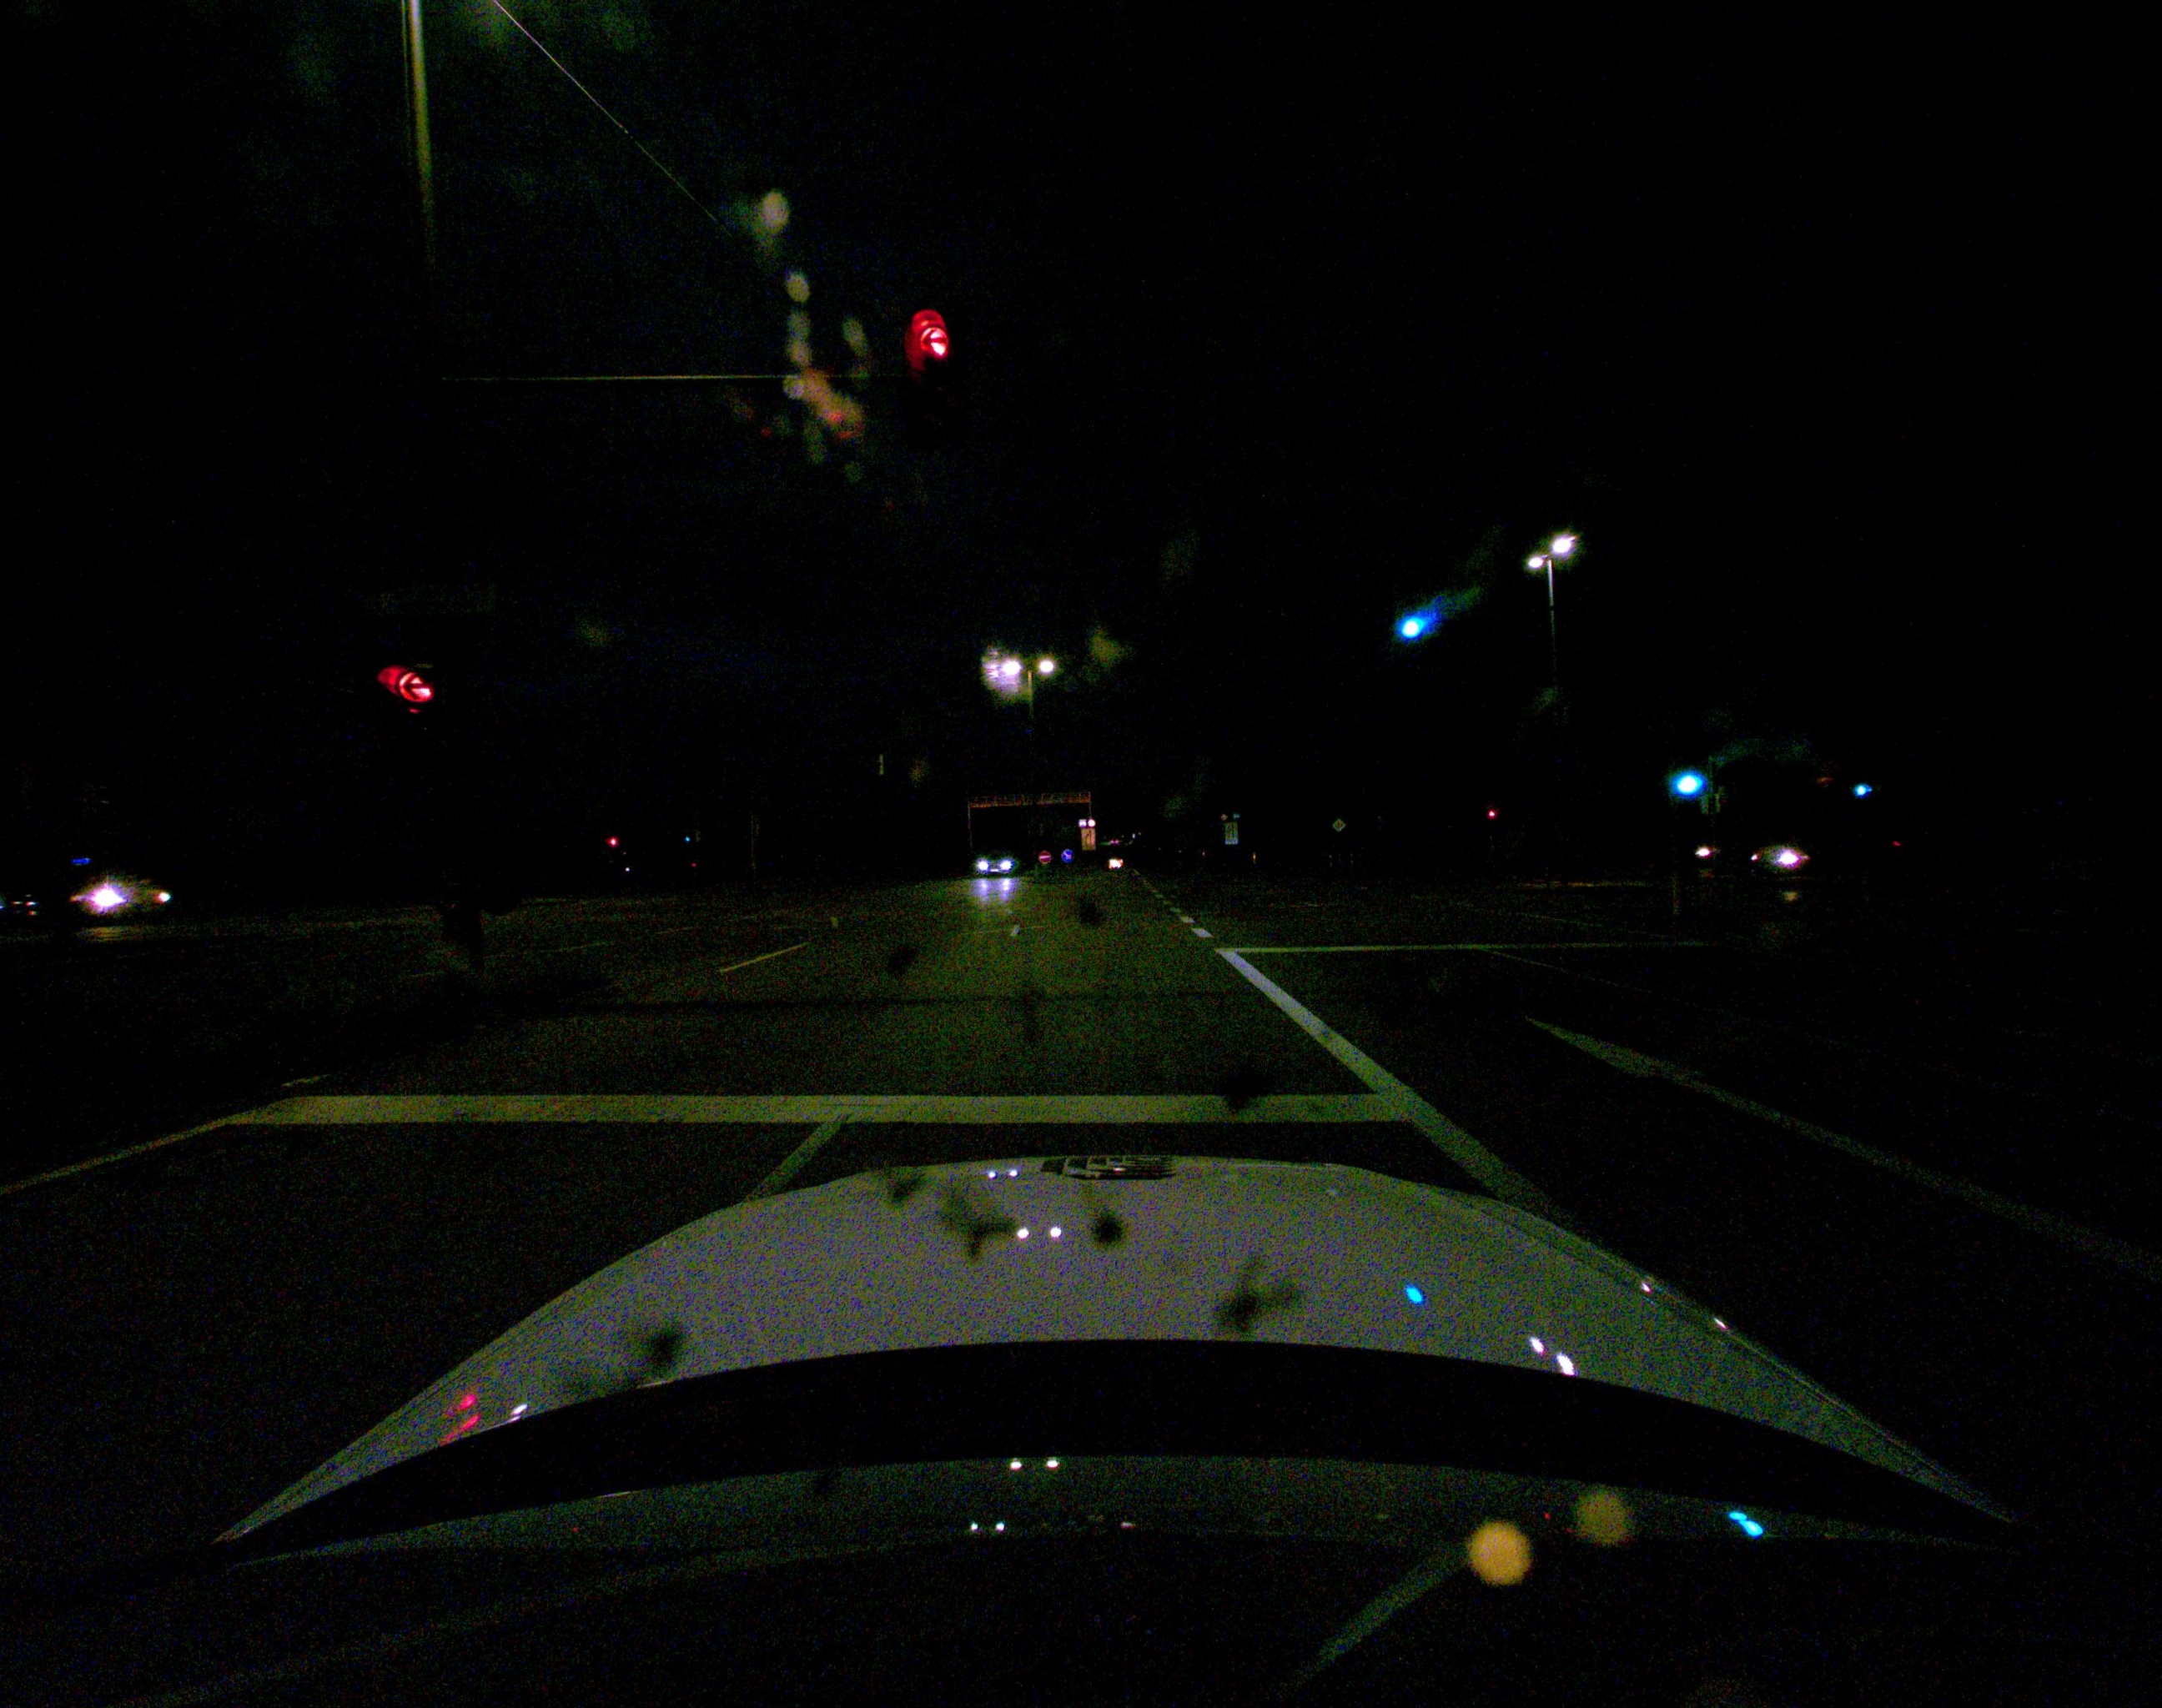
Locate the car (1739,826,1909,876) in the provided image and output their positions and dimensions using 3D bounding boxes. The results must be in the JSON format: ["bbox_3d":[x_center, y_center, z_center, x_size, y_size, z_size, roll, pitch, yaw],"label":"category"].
[{"bbox_3d":[25.437,-0.120,27.982,4.062,1.569,2.001,-1,0,-2],"label":"car"}]

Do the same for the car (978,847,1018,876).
[{"bbox_3d":[-5.143,0.451,50.913,1.987,1.698,4.001,-1,0,1],"label":"car"}]

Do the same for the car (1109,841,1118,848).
[{"bbox_3d":[8.027,-2.315,199.792,1.998,1.611,3.849,-2,-1,4],"label":"car"}]

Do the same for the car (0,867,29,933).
[{"bbox_3d":[-27.228,1.136,18.528,4.299,1.537,1.729,-2,0,0],"label":"car"}]

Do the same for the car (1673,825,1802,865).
[{"bbox_3d":[27.866,-0.386,34.643,3.976,1.569,1.899,-2,0,-2],"label":"car"}]

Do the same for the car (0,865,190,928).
[{"bbox_3d":[-27.046,1.123,21.943,4.029,1.537,1.728,-2,0,-2],"label":"car"}]
